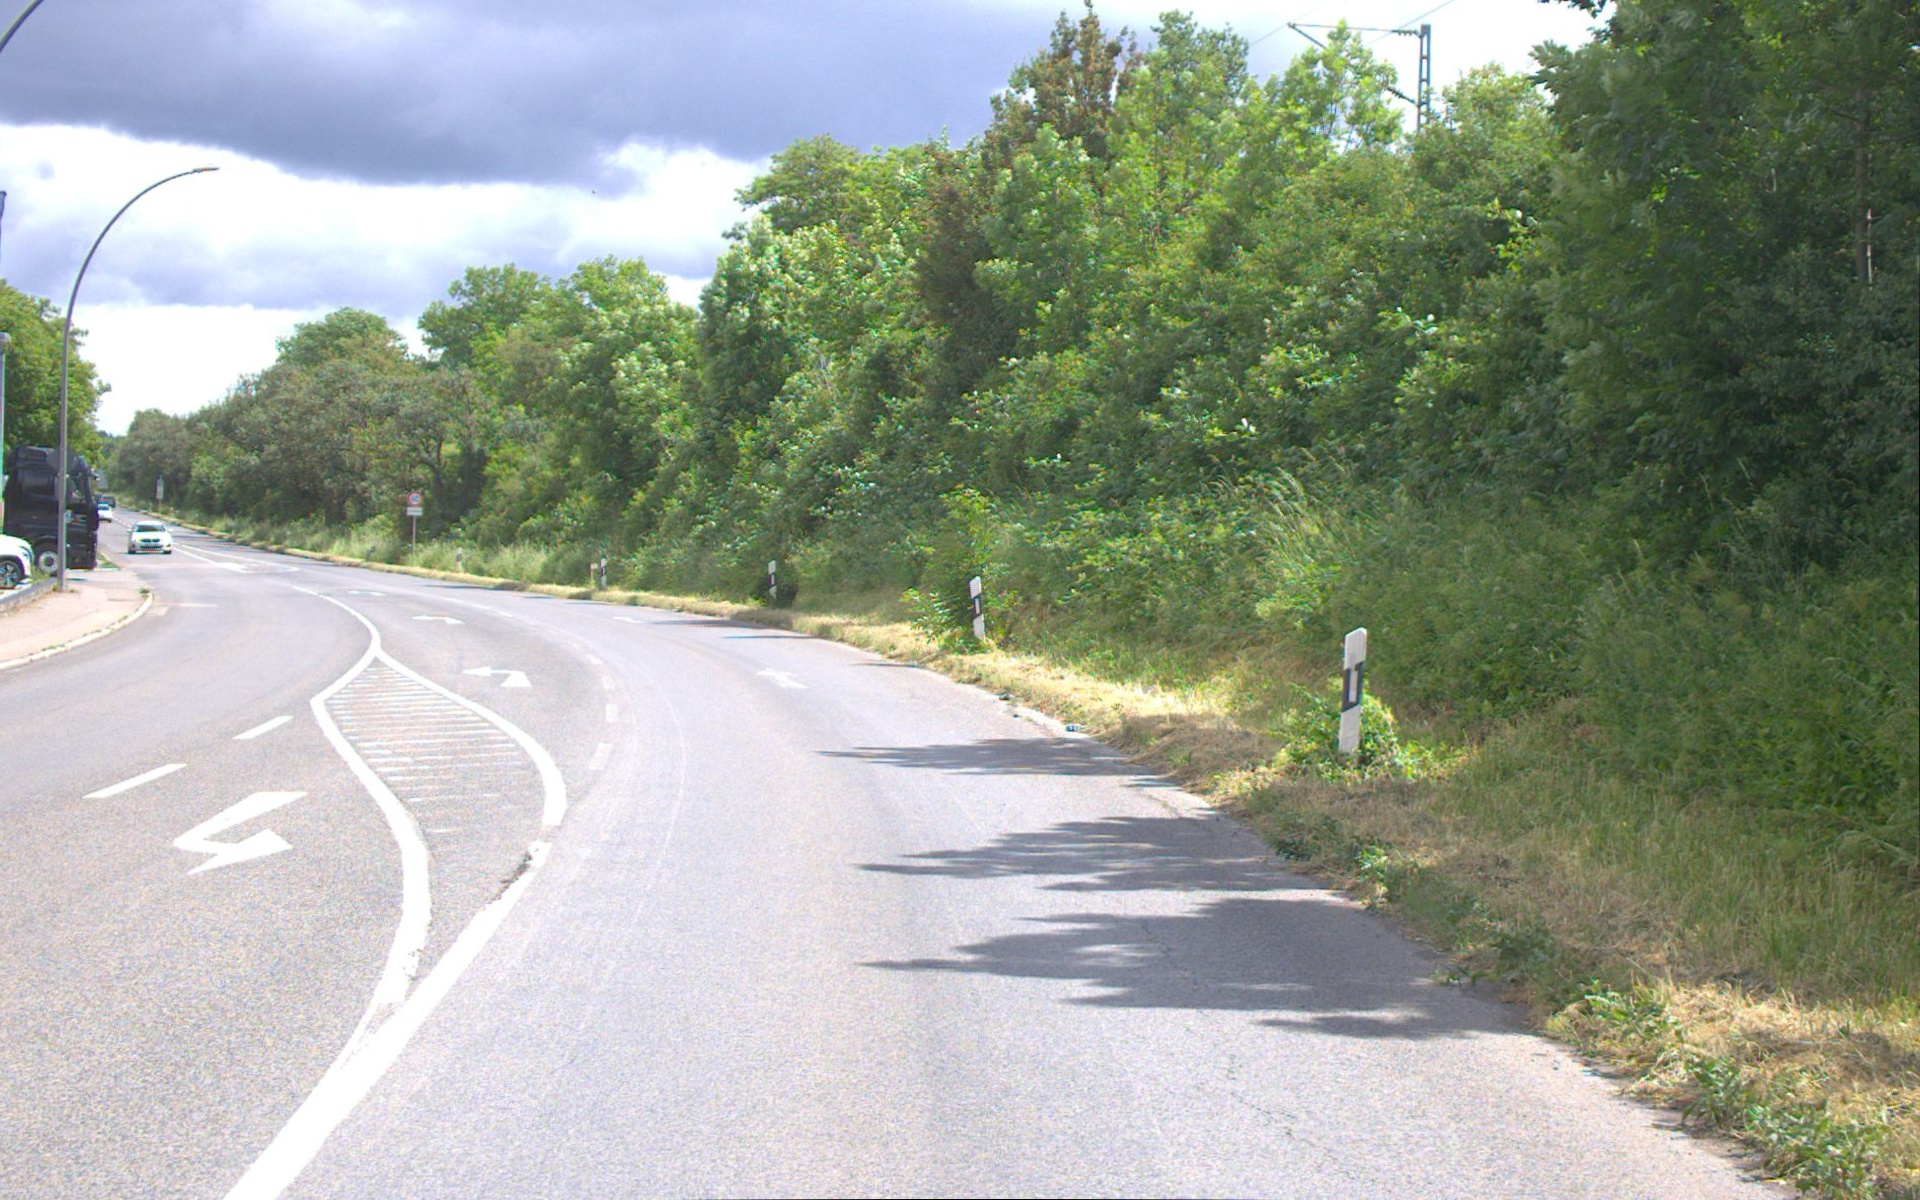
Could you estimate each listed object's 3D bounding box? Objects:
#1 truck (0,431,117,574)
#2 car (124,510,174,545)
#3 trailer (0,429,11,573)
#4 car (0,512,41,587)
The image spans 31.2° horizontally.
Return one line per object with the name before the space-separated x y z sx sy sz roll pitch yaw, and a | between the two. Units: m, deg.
truck | -27.698 -2.814 99.146 6.117 4.079 2.826 -1 2 -26
car | -36.880 -3.307 156.276 1.993 1.532 4.001 1 1 -16
trailer | -32.020 -2.779 96.937 9.720 4.079 2.826 -1 2 -27
car | -24.321 -1.247 81.771 4.302 1.757 1.999 1 1 -42
